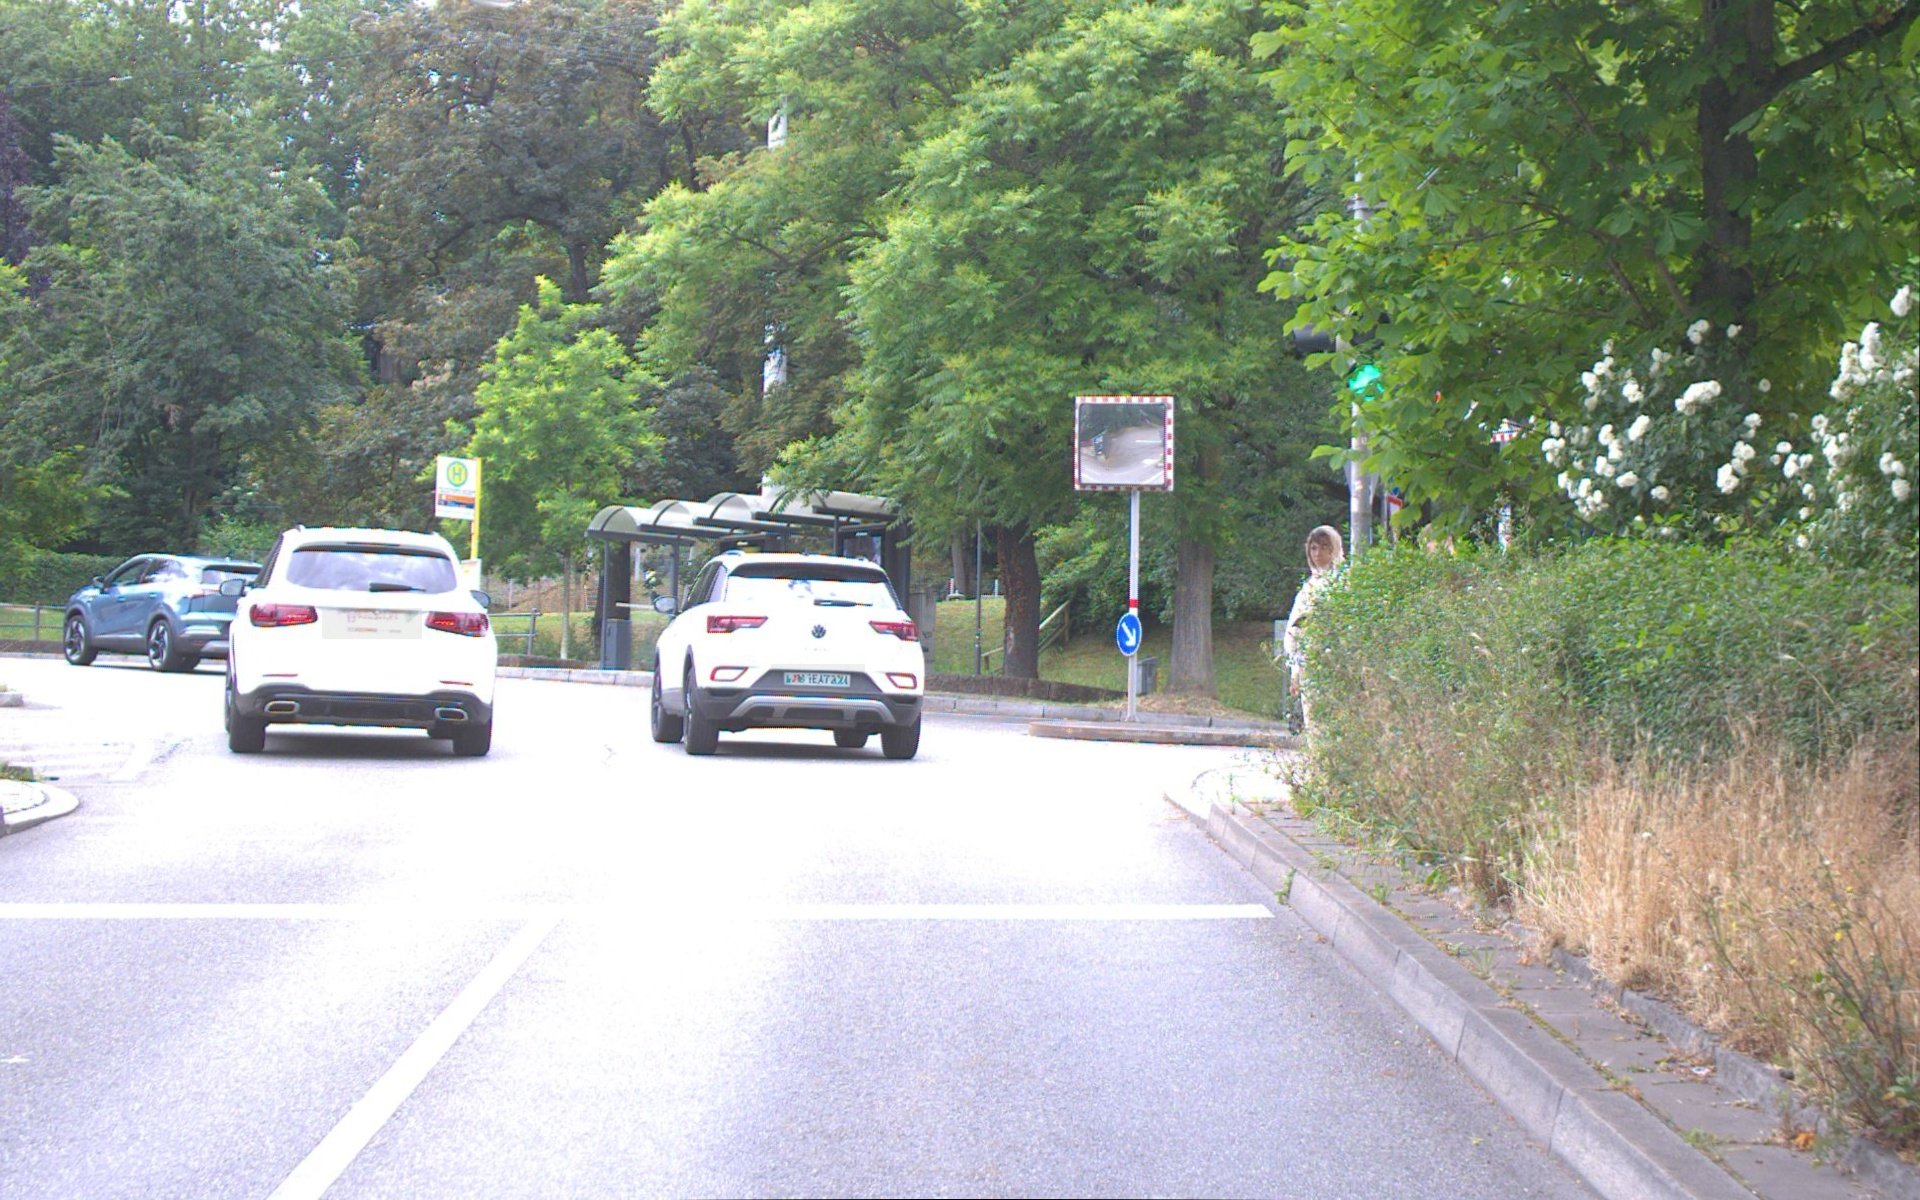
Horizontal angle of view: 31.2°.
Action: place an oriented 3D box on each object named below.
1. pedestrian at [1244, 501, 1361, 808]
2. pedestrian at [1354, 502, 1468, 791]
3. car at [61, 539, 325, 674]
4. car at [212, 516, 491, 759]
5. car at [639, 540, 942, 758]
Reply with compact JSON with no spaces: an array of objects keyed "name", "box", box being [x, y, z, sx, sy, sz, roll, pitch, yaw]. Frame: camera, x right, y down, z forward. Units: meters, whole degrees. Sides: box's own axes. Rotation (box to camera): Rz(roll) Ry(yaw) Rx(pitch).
[{"name":"pedestrian","box":[1.936,0.302,19.503,0.615,1.706,0.727,0,0,3]},{"name":"pedestrian","box":[2.719,0.275,20.761,0.615,1.706,0.727,0,0,3]},{"name":"car","box":[-10.346,0.067,46.210,1.861,1.626,3.958,4,-1,-38]},{"name":"car","box":[-4.606,0.243,25.883,1.876,1.646,4.342,-1,0,-11]},{"name":"car","box":[-1.418,0.358,27.181,1.864,1.551,3.895,2,0,-10]}]
